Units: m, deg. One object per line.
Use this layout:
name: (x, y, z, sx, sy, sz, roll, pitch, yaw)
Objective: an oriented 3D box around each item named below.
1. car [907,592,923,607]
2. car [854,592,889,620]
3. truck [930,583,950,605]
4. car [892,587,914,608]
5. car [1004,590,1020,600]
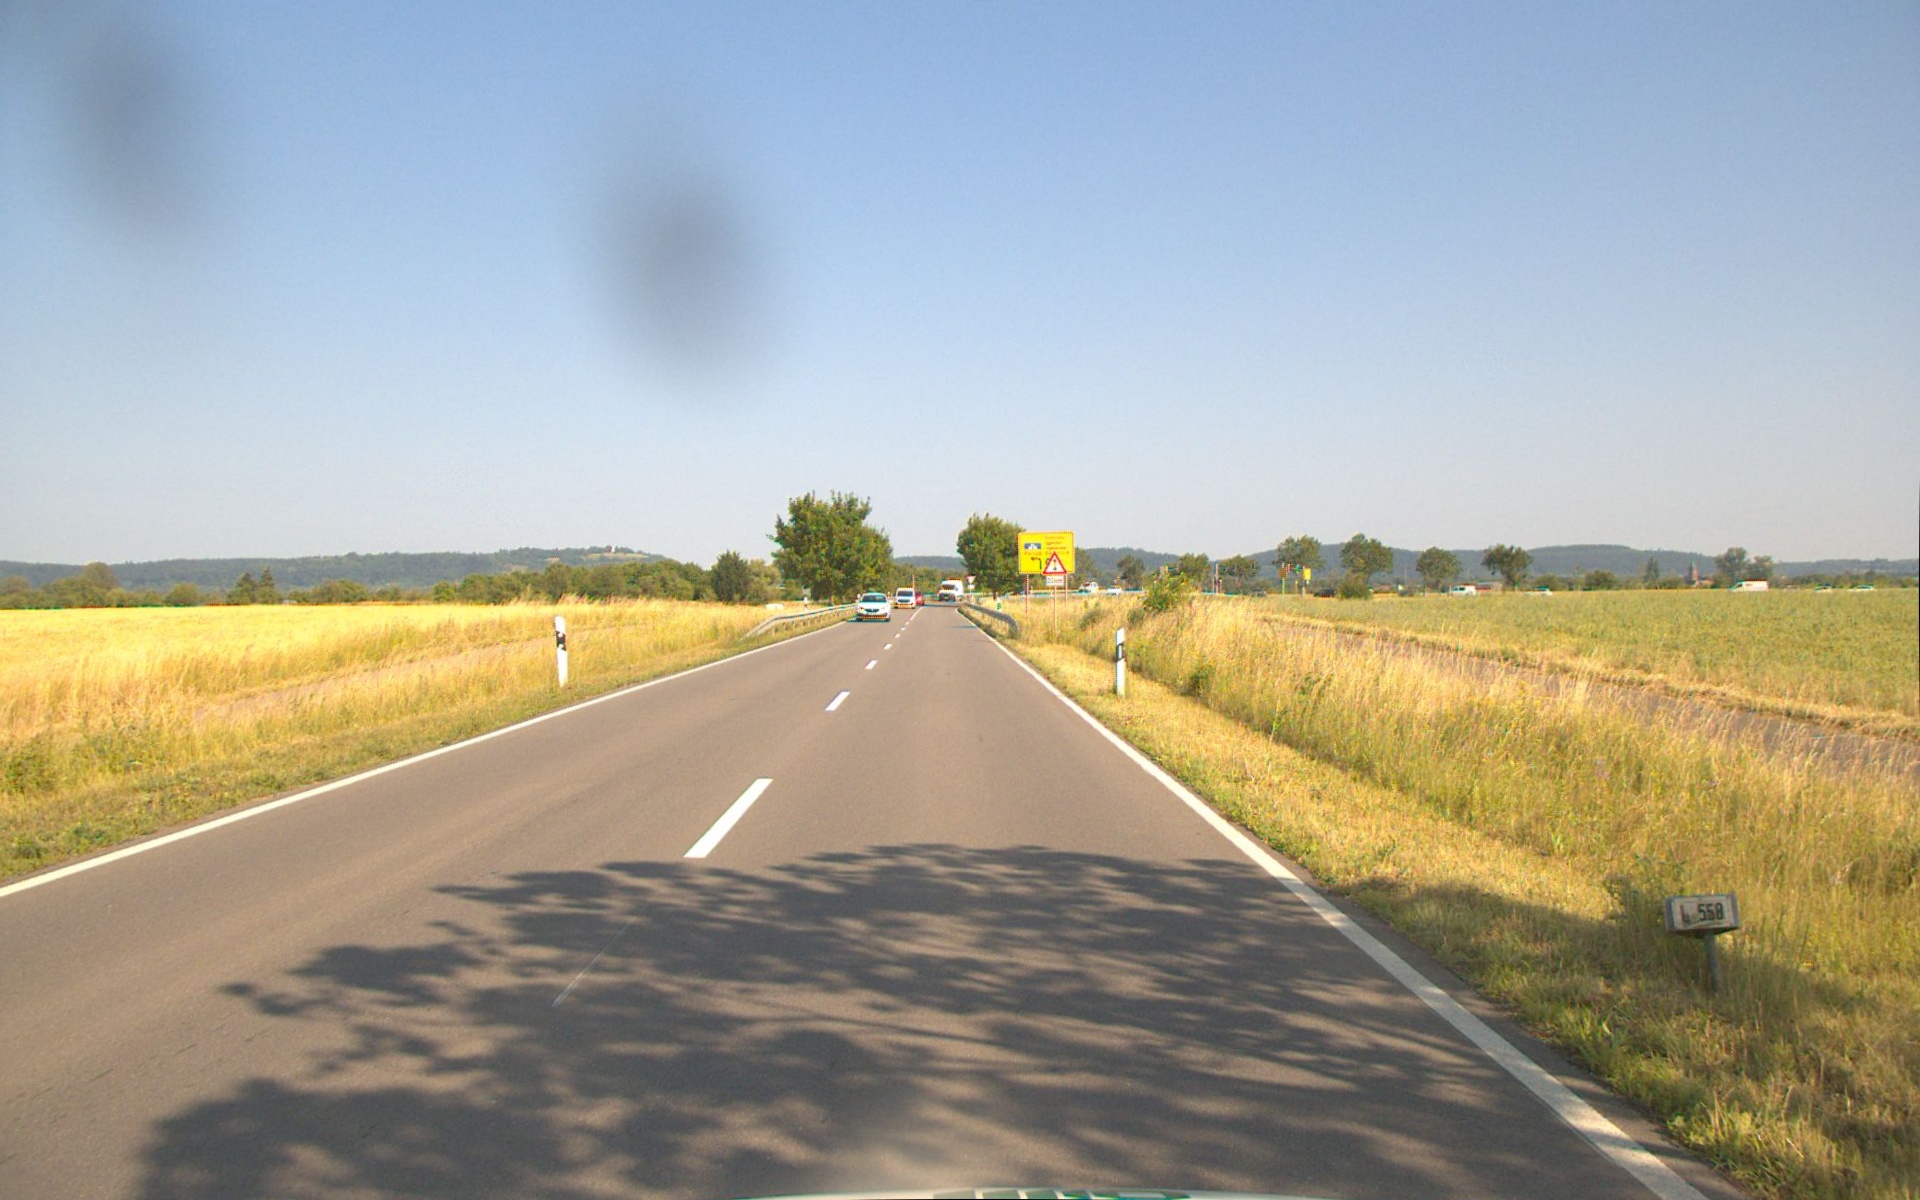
car: (-4.620, -0.099, 169.851, 1.574, 1.514, 3.779, 0, 0, -1)
car: (-4.635, 0.312, 86.893, 1.691, 1.462, 4.515, 0, 0, -1)
truck: (-2.393, -0.704, 200.469, 1.952, 2.564, 6.246, 0, 0, 3)
car: (-5.078, -0.212, 147.096, 1.799, 1.818, 4.434, 0, 0, 0)
car: (7.497, -0.733, 237.226, 1.609, 1.497, 3.810, 1, 0, 11)
